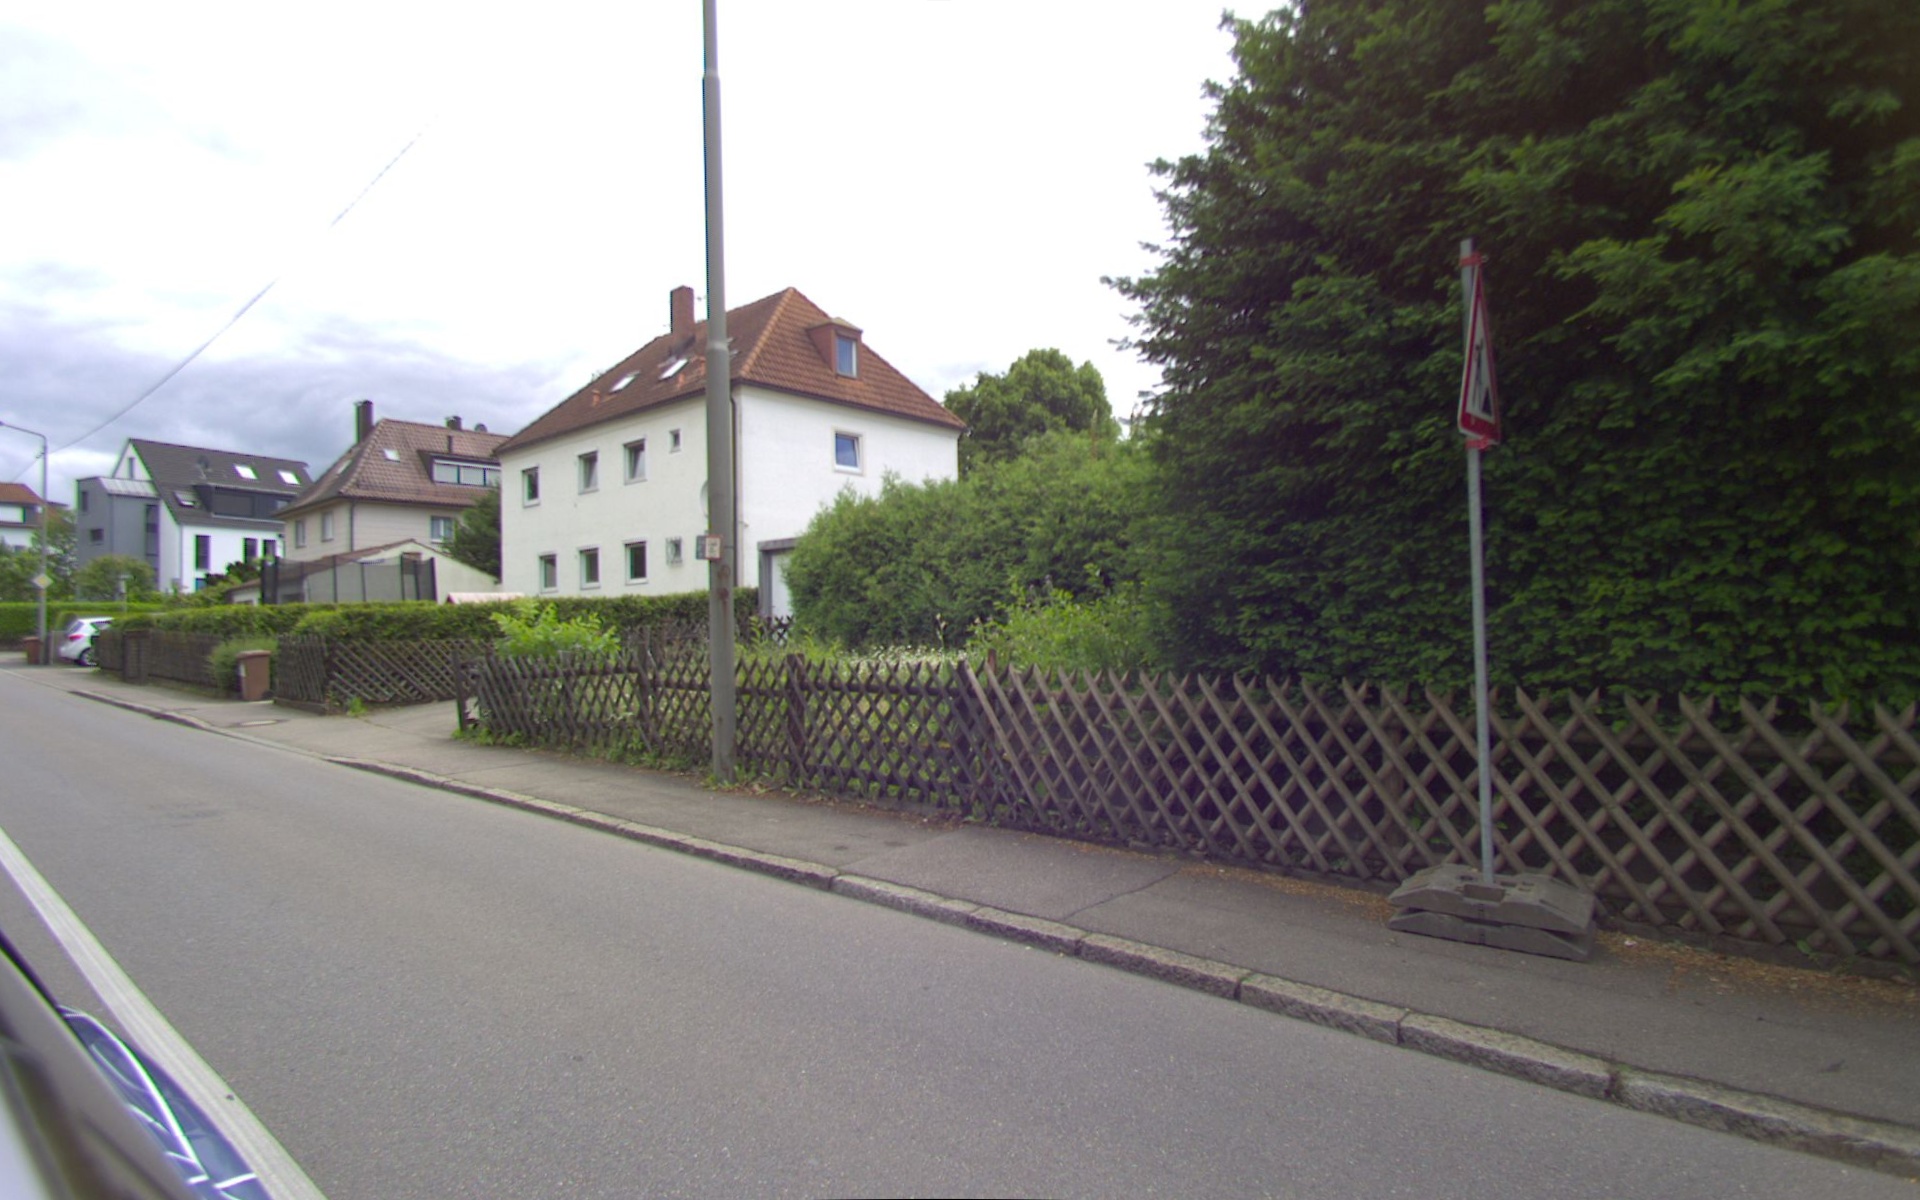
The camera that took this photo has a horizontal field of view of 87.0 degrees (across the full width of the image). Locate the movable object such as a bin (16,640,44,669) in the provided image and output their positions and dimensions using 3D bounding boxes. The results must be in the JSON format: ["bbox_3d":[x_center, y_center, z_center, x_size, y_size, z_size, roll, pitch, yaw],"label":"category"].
[{"bbox_3d":[-31.939,1.858,34.760,0.572,0.961,0.680,-2,-2,44],"label":"movable object such as a bin"}]

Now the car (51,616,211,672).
[{"bbox_3d":[-28.175,1.446,34.487,1.718,1.606,3.946,-1,1,41],"label":"car"}]

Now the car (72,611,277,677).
[{"bbox_3d":[-23.899,1.287,30.949,1.881,1.682,4.624,-1,1,39],"label":"car"}]

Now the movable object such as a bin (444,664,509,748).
[{"bbox_3d":[-5.795,1.256,12.134,0.537,0.945,0.544,-2,-2,43],"label":"movable object such as a bin"}]

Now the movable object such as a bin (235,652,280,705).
[{"bbox_3d":[-12.834,1.422,18.483,0.625,0.920,0.561,-1,0,-39],"label":"movable object such as a bin"}]
